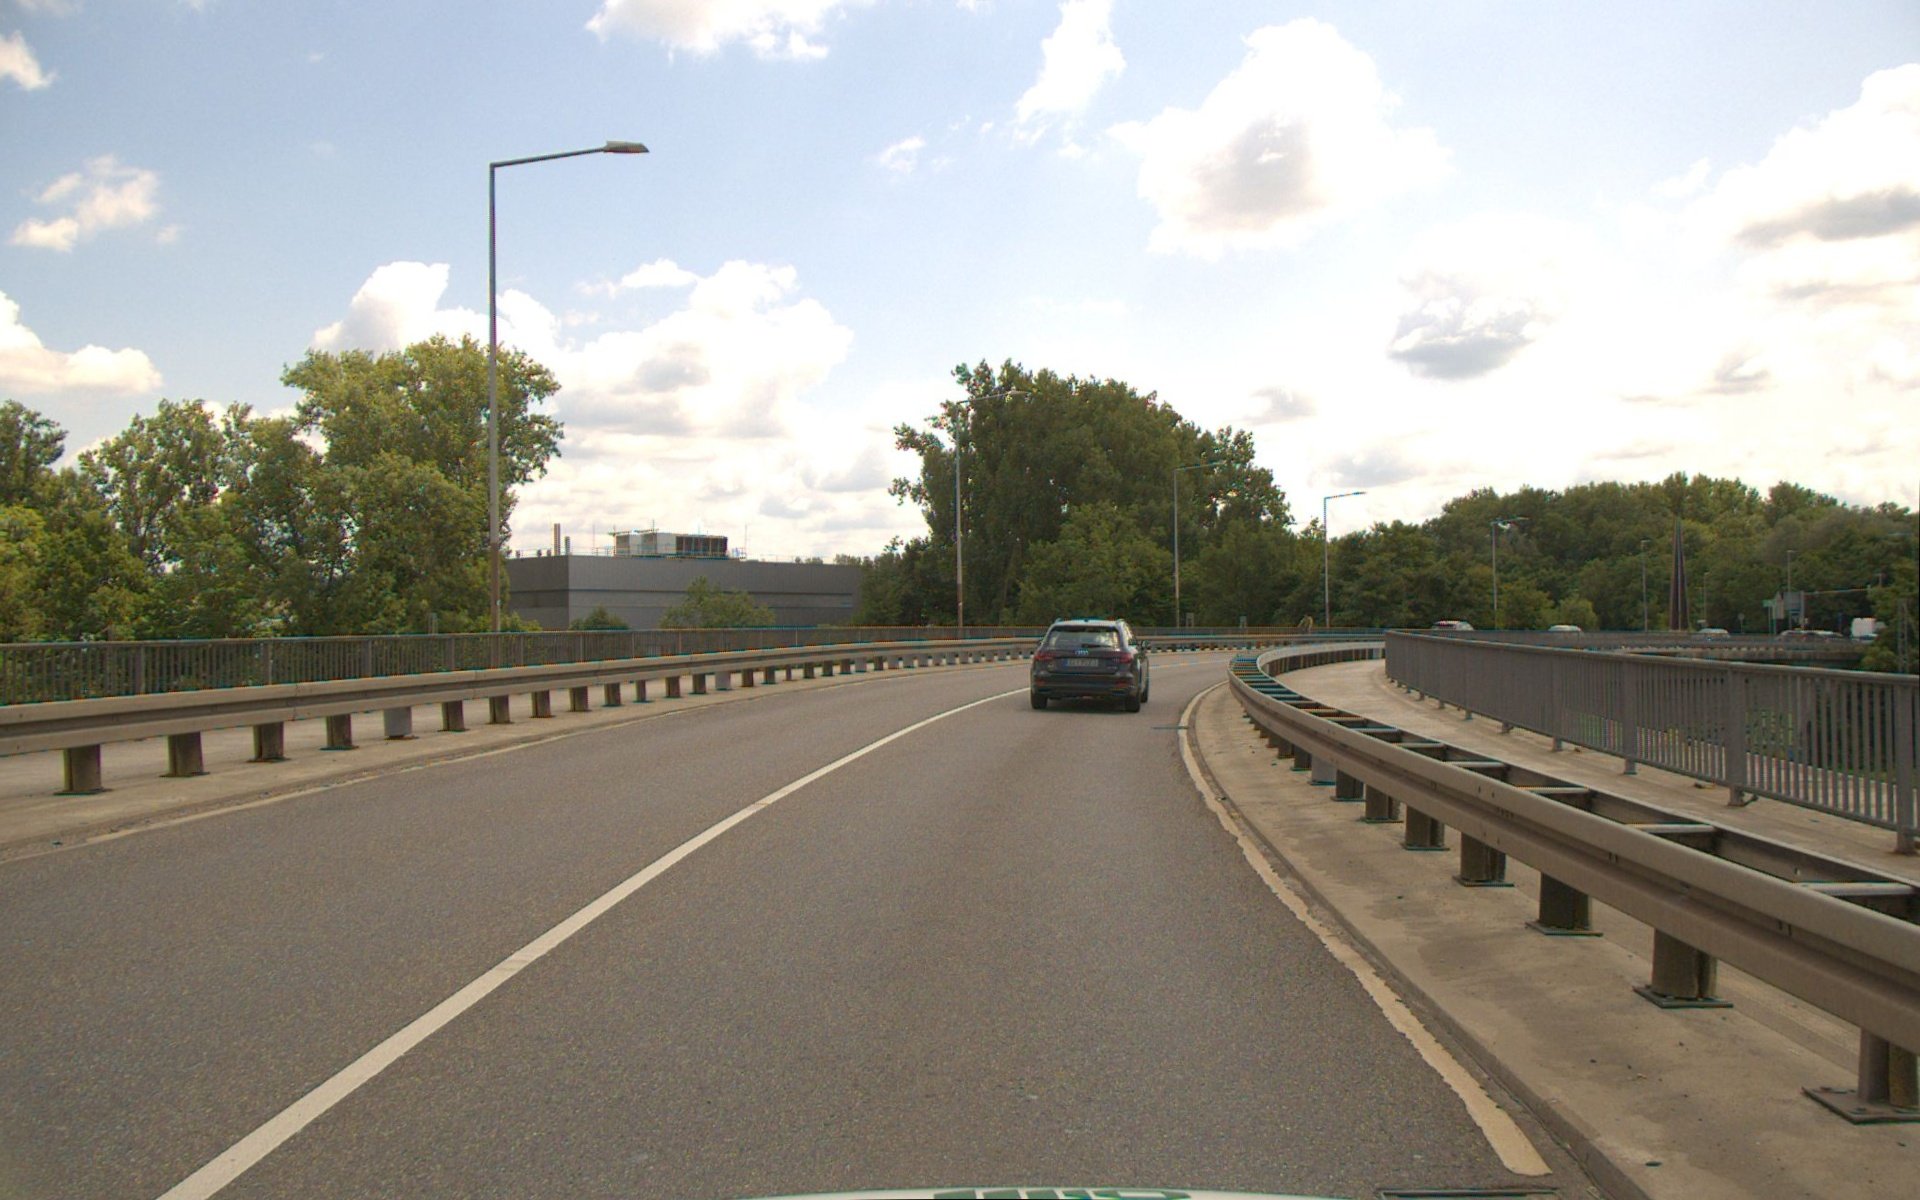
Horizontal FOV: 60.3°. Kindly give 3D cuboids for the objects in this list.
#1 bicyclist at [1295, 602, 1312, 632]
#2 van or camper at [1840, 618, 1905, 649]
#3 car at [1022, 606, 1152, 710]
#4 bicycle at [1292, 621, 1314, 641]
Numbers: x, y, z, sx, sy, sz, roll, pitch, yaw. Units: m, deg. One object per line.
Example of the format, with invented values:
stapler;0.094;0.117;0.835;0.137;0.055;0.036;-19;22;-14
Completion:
bicyclist;19.266;0.957;92.646;0.751;1.630;0.947;0;-1;24
van or camper;74.395;2.700;134.835;5.166;2.381;2.258;2;0;-29
car;2.194;0.891;27.503;1.789;1.517;4.210;2;0;9
bicycle;19.187;1.722;92.464;0.753;1.114;2.114;0;-1;24
